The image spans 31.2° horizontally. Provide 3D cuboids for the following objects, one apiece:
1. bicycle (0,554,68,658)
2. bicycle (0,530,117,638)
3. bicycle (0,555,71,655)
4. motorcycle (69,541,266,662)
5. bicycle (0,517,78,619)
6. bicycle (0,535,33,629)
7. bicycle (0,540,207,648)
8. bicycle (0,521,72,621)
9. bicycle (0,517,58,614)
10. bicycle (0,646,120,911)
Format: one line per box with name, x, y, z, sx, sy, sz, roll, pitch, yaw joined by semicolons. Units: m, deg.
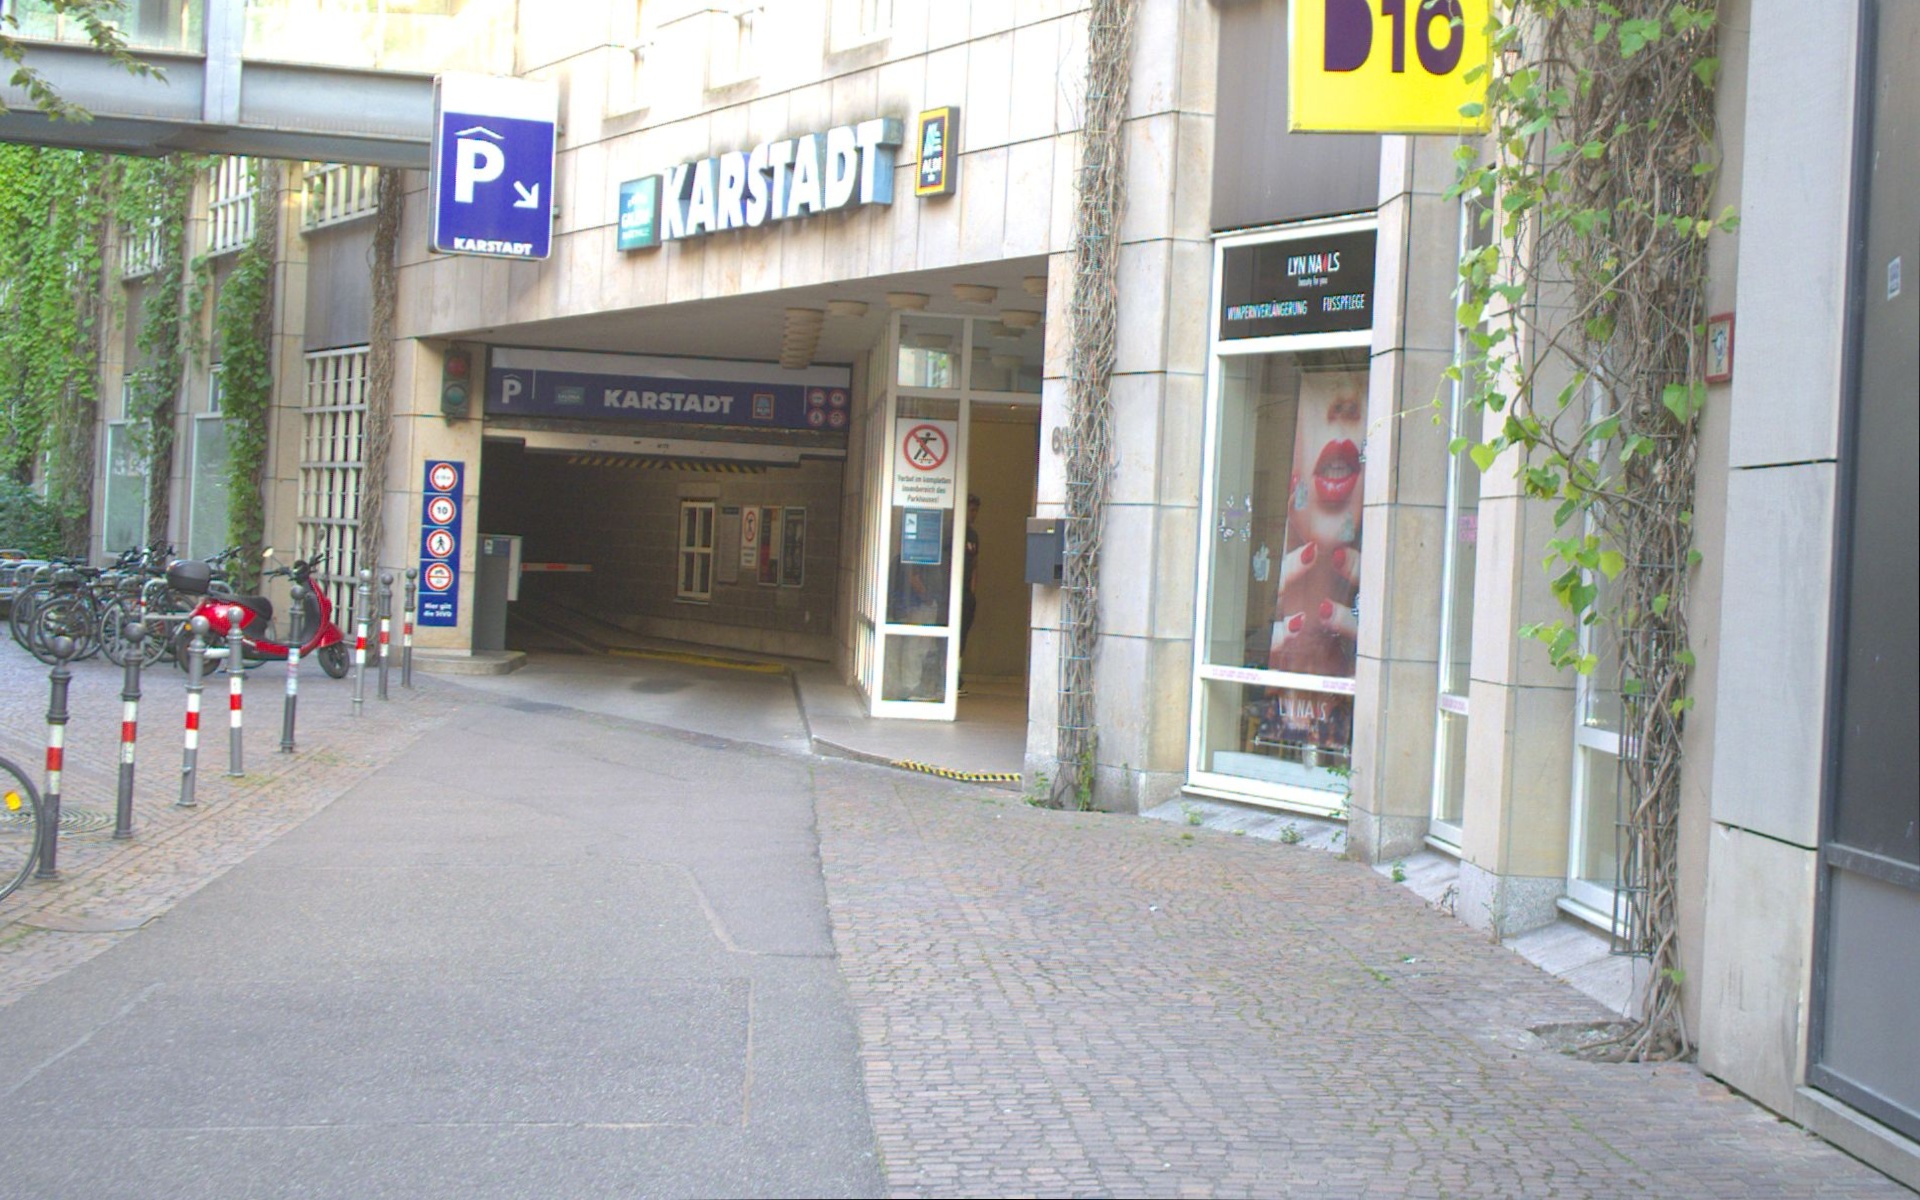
bicycle;-10.078;0.051;35.571;1.539;1.045;0.575;2;1;-25
bicycle;-9.350;-0.166;34.648;1.539;1.045;0.575;2;1;-25
bicycle;-10.417;0.040;36.981;1.539;1.045;0.575;2;1;-25
motorcycle;-7.232;0.014;31.389;1.662;1.047;0.464;2;1;-25
bicycle;-10.782;-0.371;38.259;1.773;1.110;0.543;2;1;-25
bicycle;-12.104;-0.239;41.290;1.773;1.110;0.543;2;1;-25
bicycle;-8.206;-0.054;32.954;1.847;0.978;0.464;2;1;-25
bicycle;-11.075;-0.348;39.143;1.773;1.110;0.543;2;1;-25
bicycle;-11.543;-0.424;40.308;1.773;1.110;0.543;2;1;-25
bicycle;-3.751;0.670;12.886;0.493;0.935;1.658;4;1;10
